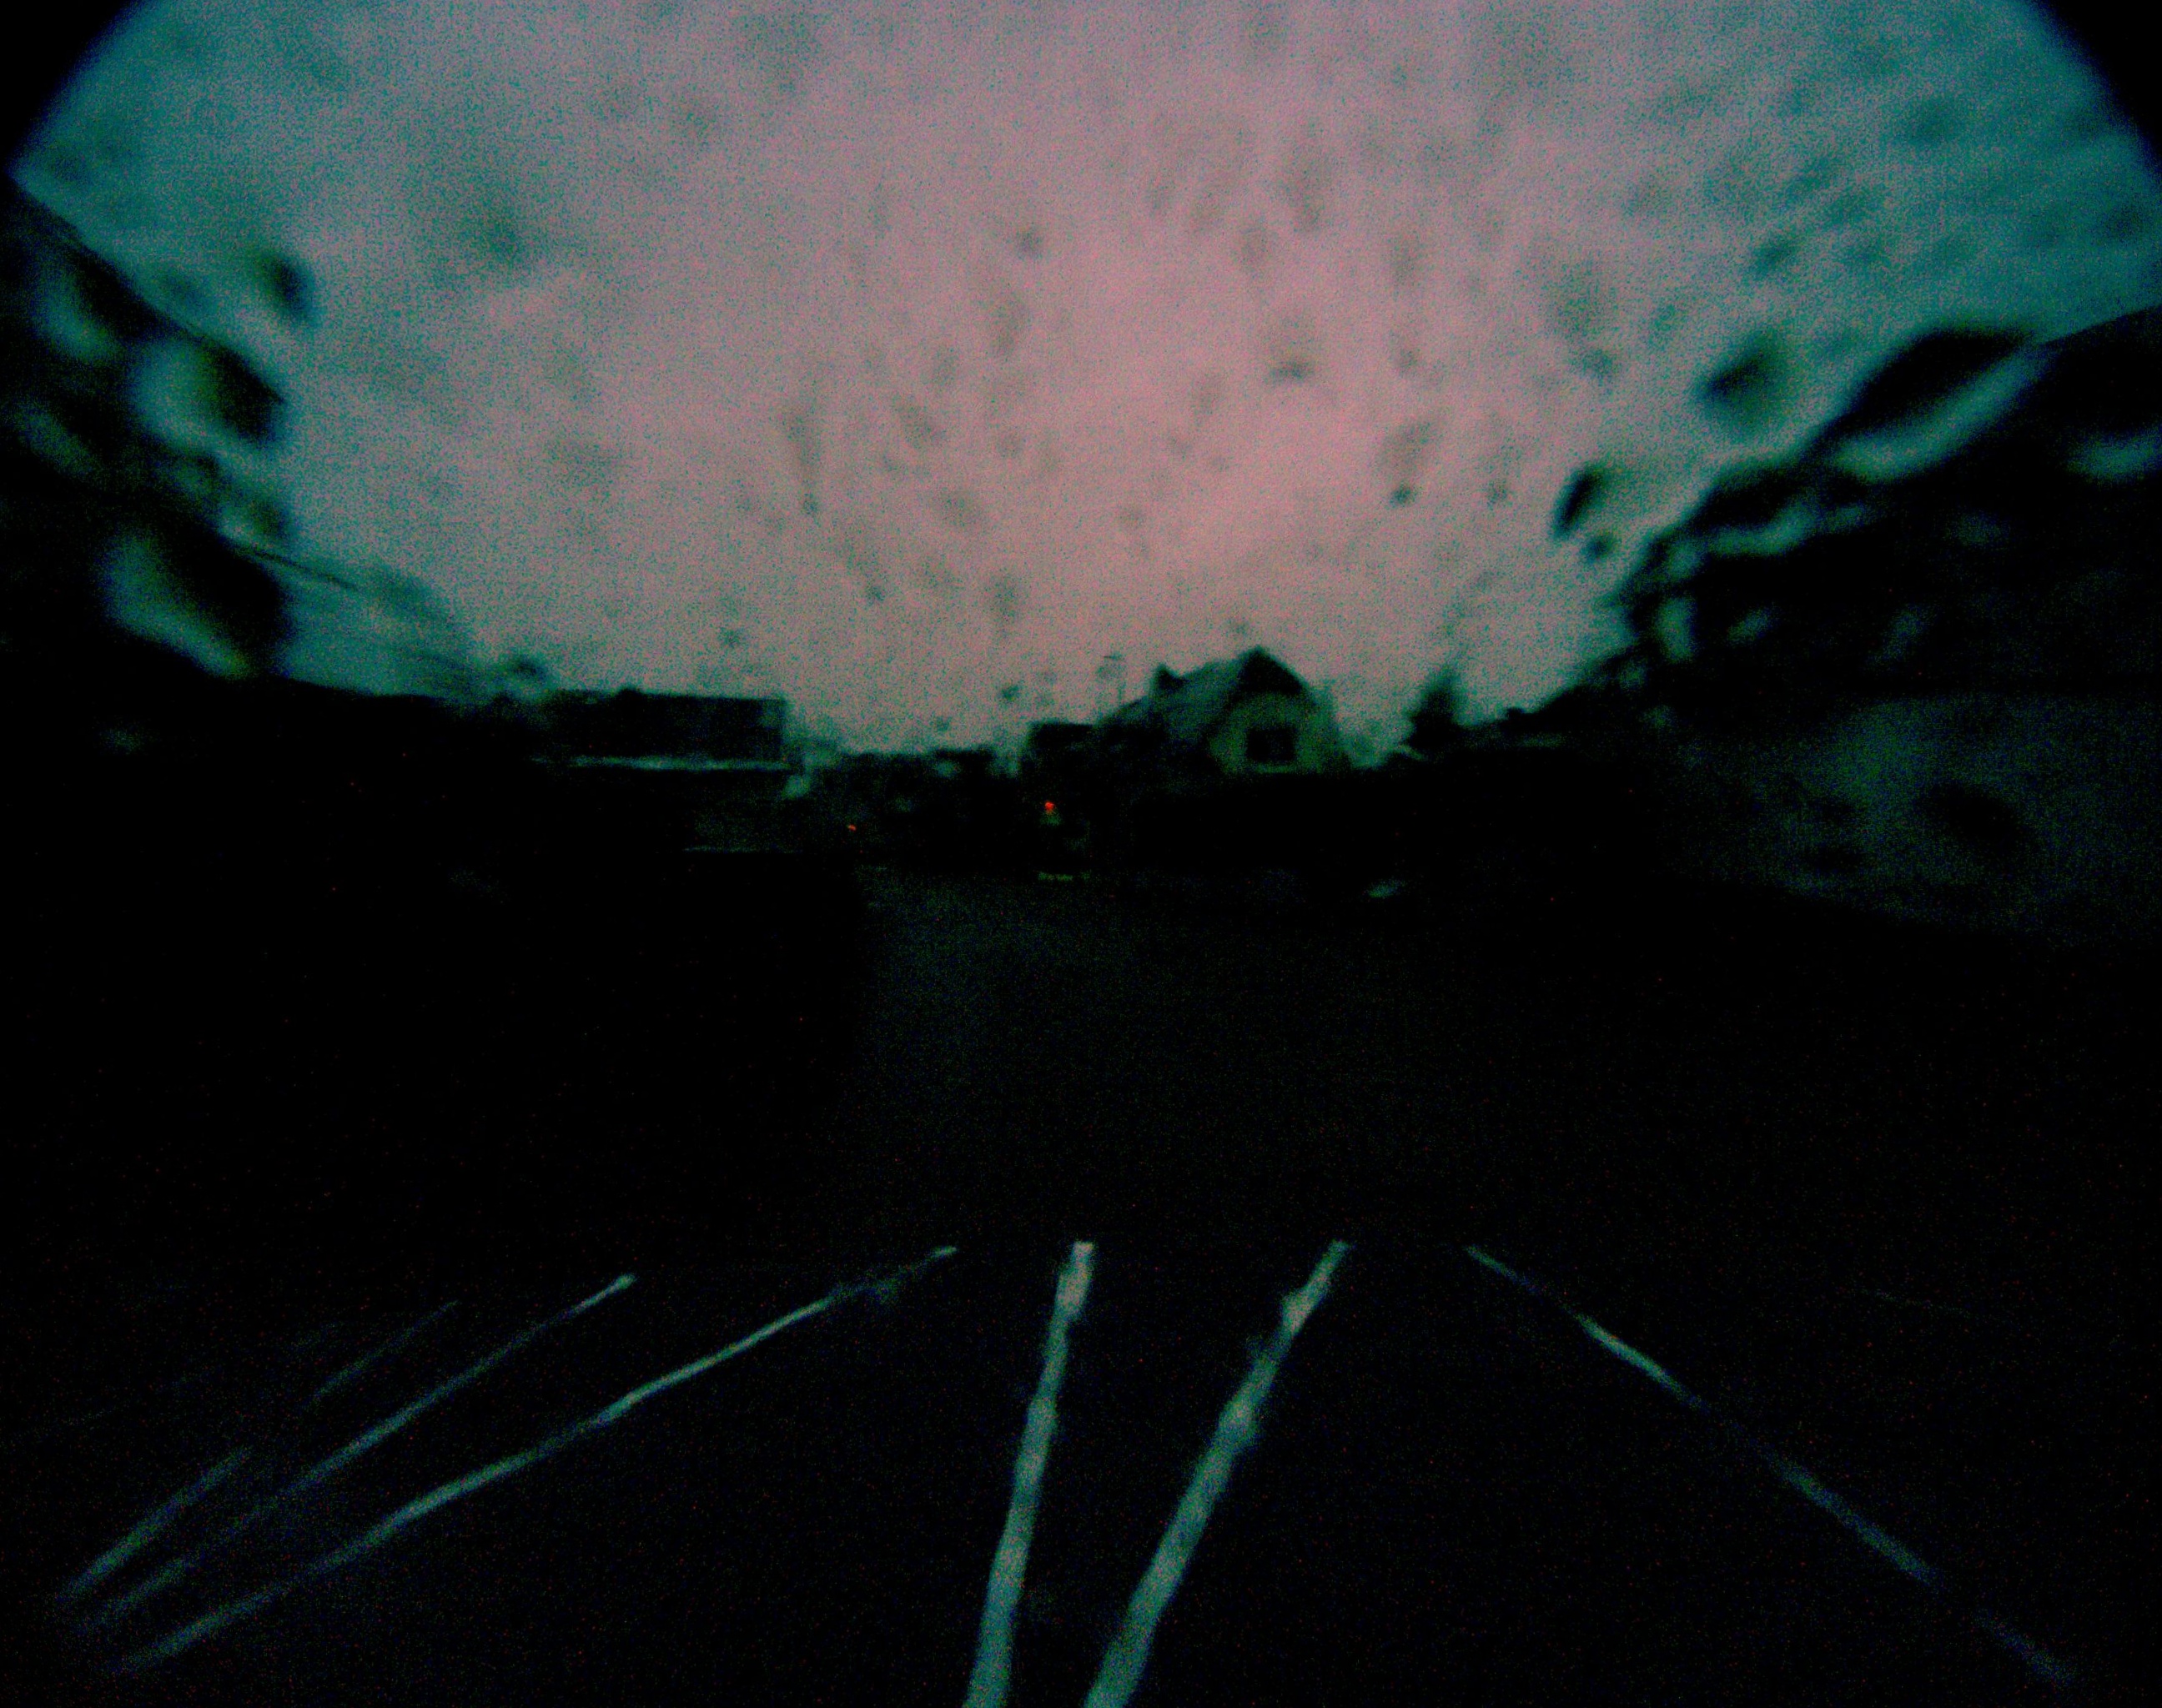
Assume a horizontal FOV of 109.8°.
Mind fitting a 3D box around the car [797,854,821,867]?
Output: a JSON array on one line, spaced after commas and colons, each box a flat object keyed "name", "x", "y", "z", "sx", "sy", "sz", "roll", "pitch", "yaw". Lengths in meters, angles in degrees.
[{"name": "car", "x": -31.547, "y": 0.762, "z": 88.093, "sx": 1.676, "sy": 1.401, "sz": 3.904, "roll": -2, "pitch": 0, "yaw": -33}]

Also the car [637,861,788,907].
[{"name": "car", "x": -12.725, "y": 0.998, "z": 26.567, "sx": 4.523, "sy": 1.435, "sz": 1.997, "roll": 0, "pitch": 0, "yaw": -19}]
